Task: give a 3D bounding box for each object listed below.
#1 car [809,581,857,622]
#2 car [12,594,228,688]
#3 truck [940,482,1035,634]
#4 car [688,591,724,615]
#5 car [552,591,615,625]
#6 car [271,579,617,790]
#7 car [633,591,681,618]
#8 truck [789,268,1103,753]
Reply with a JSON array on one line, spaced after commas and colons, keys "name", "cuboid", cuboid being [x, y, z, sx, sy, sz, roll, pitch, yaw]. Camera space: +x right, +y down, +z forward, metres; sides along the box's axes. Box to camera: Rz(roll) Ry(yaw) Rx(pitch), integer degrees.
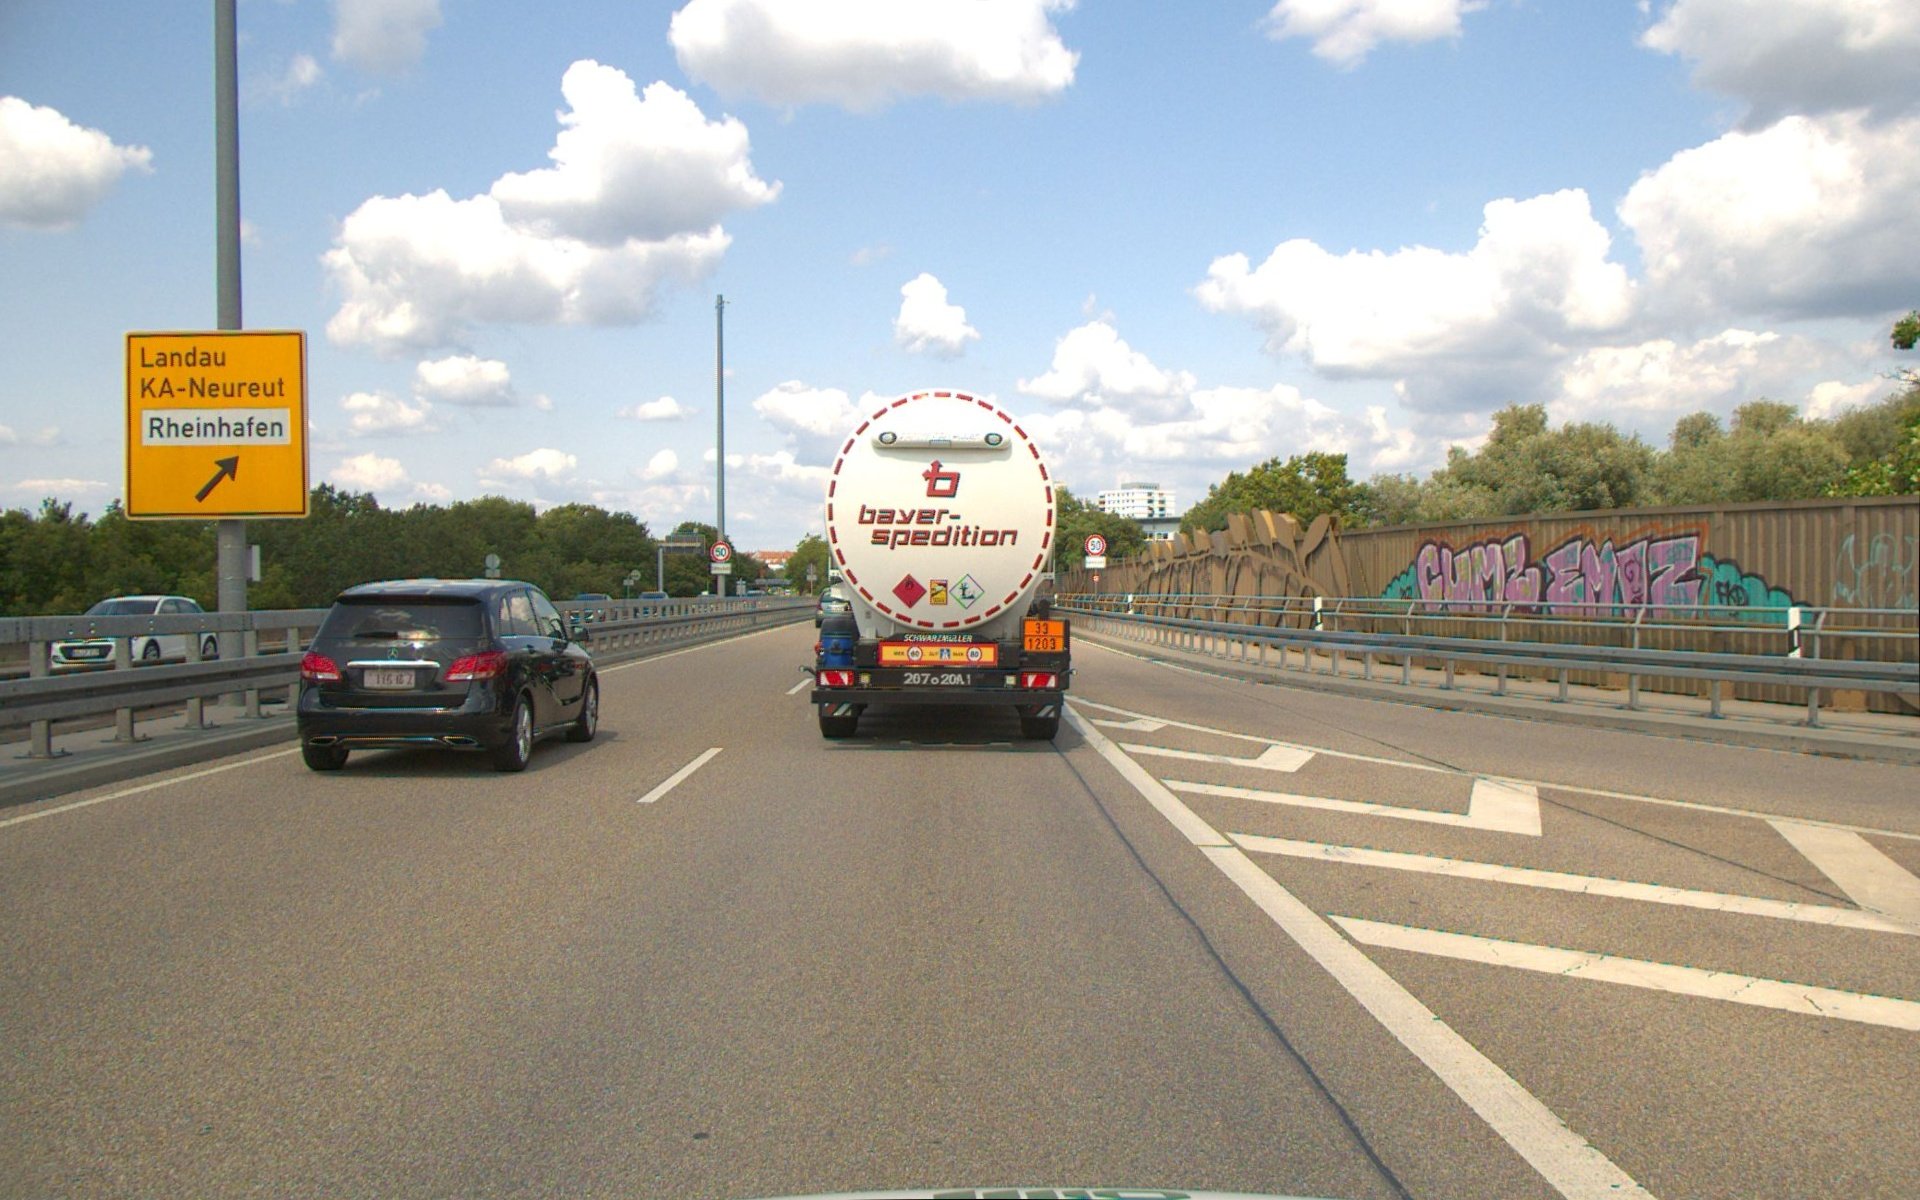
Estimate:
[{"name": "car", "cuboid": [-5.029, 0.043, 66.123, 1.712, 1.558, 3.999, 0, 1, -2]}, {"name": "car", "cuboid": [-16.030, 0.728, 31.882, 1.761, 1.624, 4.712, 1, 0, 0]}, {"name": "truck", "cuboid": [0.837, -1.400, 57.678, 2.837, 4.891, 8.027, 1, 0, -2]}, {"name": "car", "cuboid": [-17.503, 0.182, 114.190, 1.953, 1.601, 3.999, 1, 0, -2]}, {"name": "car", "cuboid": [-16.776, 0.331, 73.891, 1.740, 1.445, 4.621, 0, 0, 0]}, {"name": "car", "cuboid": [-4.341, 0.615, 14.693, 1.677, 1.554, 4.592, 1, 0, -1]}, {"name": "car", "cuboid": [-17.013, 0.239, 93.042, 1.873, 1.489, 4.518, 0, 0, -1]}, {"name": "truck", "cuboid": [-0.247, -0.862, 19.379, 2.837, 4.445, 8.027, 1, 0, -2]}]
